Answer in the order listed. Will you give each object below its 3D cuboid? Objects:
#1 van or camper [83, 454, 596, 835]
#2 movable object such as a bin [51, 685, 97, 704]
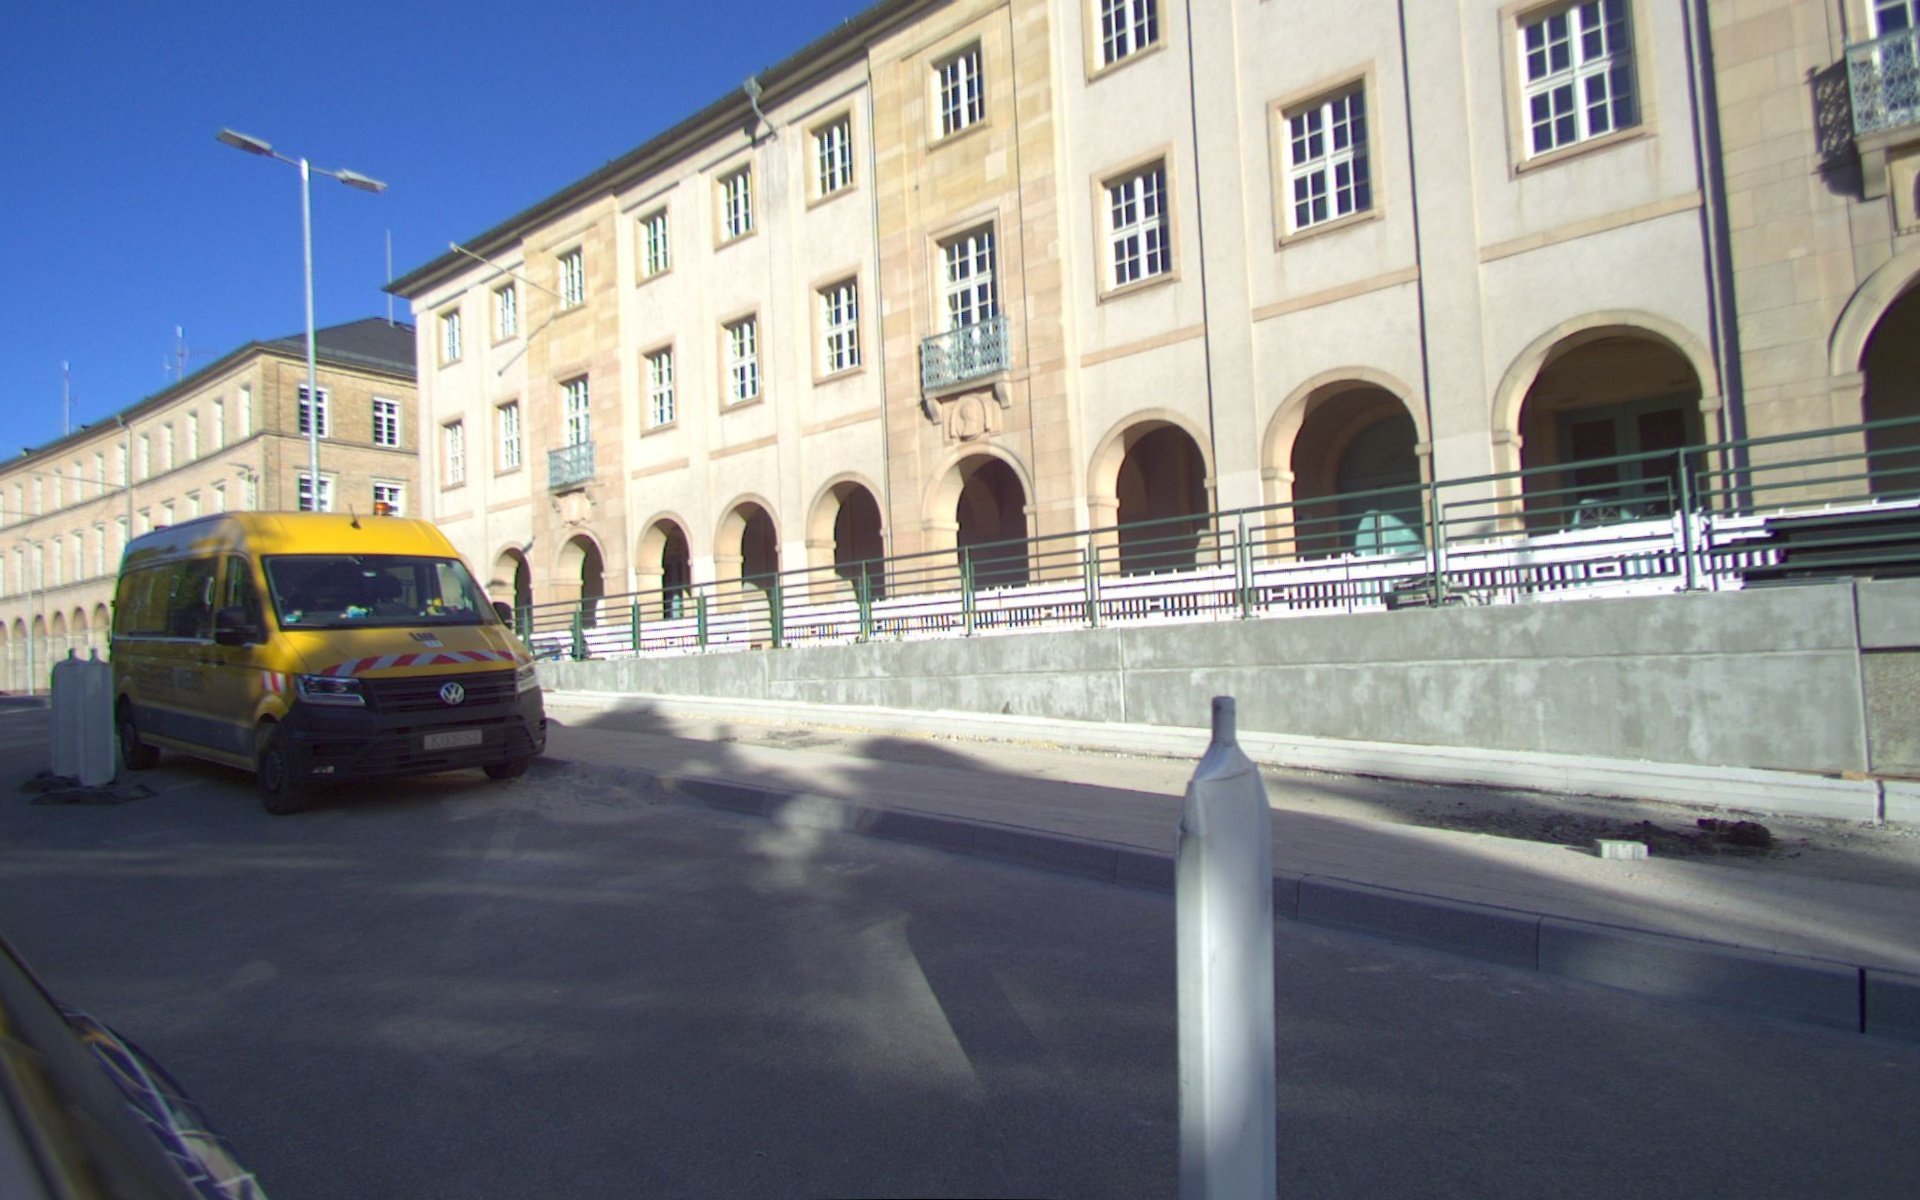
[{"bbox_3d":[-6.479,0.369,10.011,6.818,2.632,2.172,-2,0,40],"label":"van or camper"},{"bbox_3d":[-37.770,4.028,43.158,1.236,0.703,1.178,-5,-4,31],"label":"movable object such as a bin"}]
